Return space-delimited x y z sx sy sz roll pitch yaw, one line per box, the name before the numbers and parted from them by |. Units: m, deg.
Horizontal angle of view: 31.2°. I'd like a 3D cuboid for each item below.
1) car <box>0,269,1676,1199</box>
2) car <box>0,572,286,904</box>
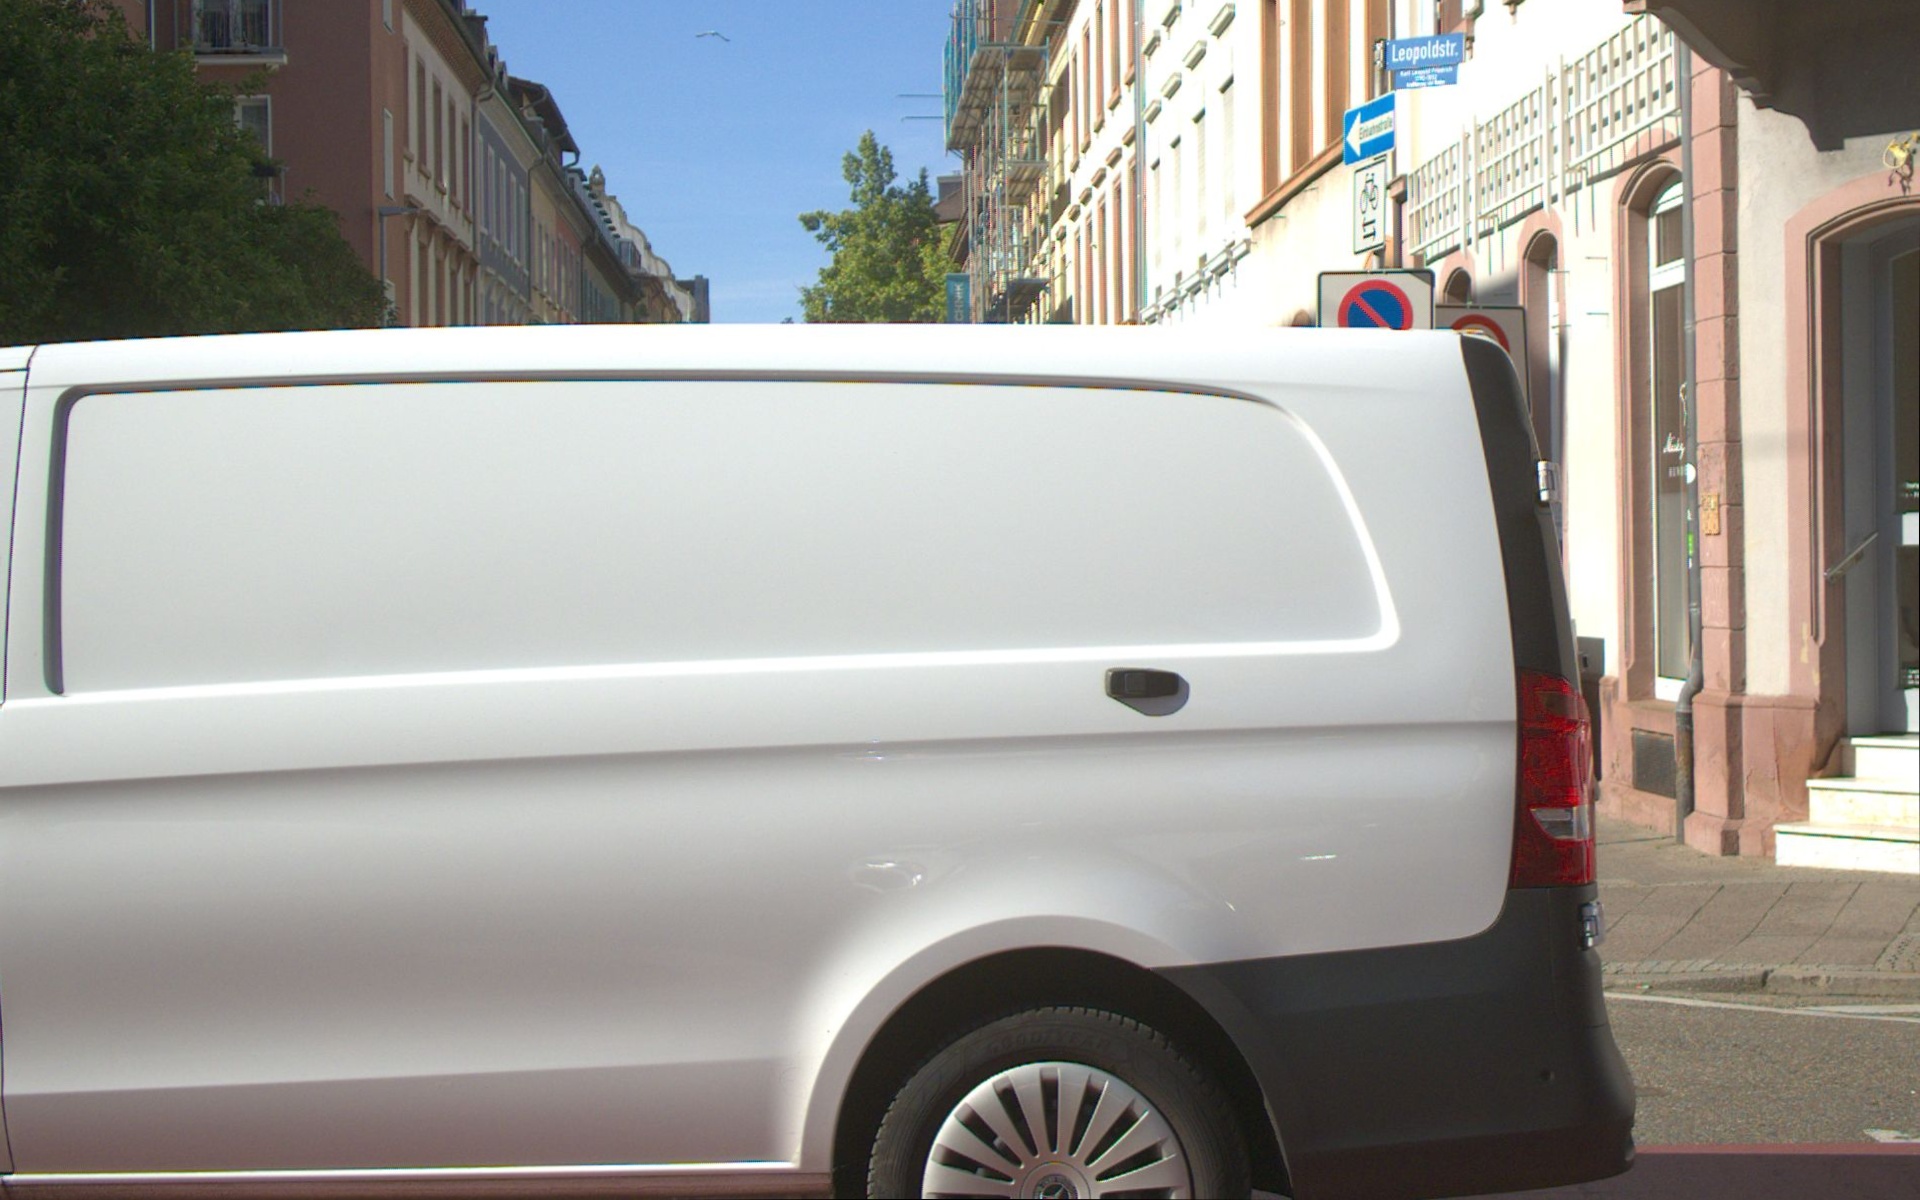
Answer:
car | -1.397 0.392 7.045 5.407 1.901 2.107 0 1 6
car | -4.657 0.631 17.630 1.684 1.495 3.807 -2 1 -1
